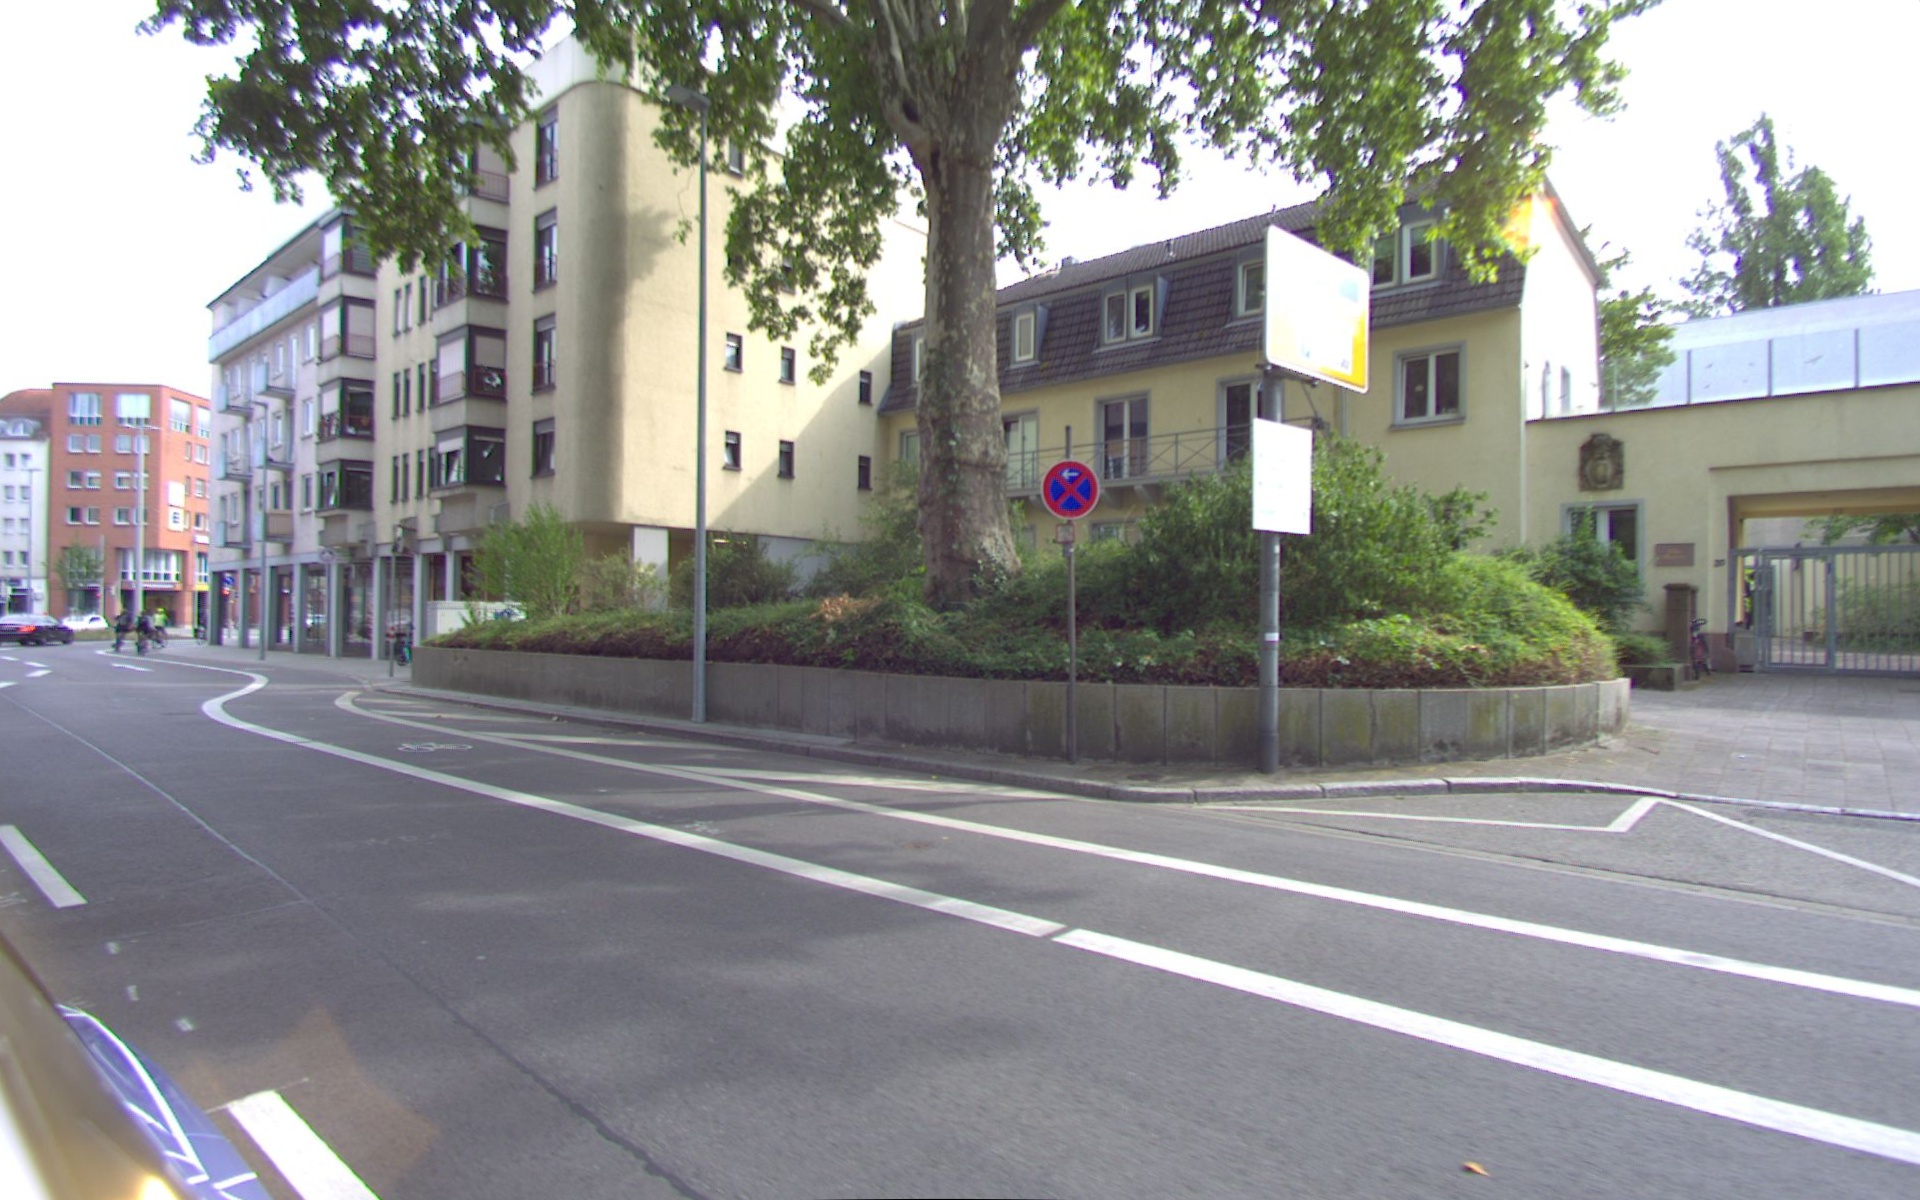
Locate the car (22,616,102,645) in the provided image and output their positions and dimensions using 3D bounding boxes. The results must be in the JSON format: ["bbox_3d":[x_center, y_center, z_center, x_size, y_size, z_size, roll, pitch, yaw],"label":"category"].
[{"bbox_3d":[-60.187,2.005,67.941,1.970,1.893,4.003,0,-1,-4],"label":"car"}]

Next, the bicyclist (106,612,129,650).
[{"bbox_3d":[-34.426,1.266,41.350,0.649,1.537,0.857,-1,-1,-45],"label":"bicyclist"}]

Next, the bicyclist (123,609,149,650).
[{"bbox_3d":[-31.485,1.127,38.656,0.649,1.537,1.077,-1,-1,-45],"label":"bicyclist"}]

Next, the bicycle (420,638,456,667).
[{"bbox_3d":[-15.989,1.608,30.964,1.618,0.827,0.425,-1,-2,42],"label":"bicycle"}]

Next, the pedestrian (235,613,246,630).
[{"bbox_3d":[-72.140,2.175,101.450,0.631,1.700,0.601,0,-2,-4],"label":"pedestrian"}]

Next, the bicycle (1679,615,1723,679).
[{"bbox_3d":[13.010,0.803,17.747,0.399,1.052,1.779,-3,-1,42],"label":"bicycle"}]

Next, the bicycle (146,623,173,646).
[{"bbox_3d":[-37.242,1.608,47.068,0.729,1.014,2.253,-1,-1,-45],"label":"bicycle"}]

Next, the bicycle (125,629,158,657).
[{"bbox_3d":[-31.148,1.620,38.490,2.196,1.014,0.729,-3,-1,44],"label":"bicycle"}]

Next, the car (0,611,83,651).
[{"bbox_3d":[-41.472,1.435,45.233,1.785,1.419,4.622,-2,-5,-19],"label":"car"}]

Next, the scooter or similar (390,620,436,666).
[{"bbox_3d":[-15.517,1.217,28.733,1.161,1.274,0.286,0,-2,4],"label":"scooter or similar"}]

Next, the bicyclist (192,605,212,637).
[{"bbox_3d":[-37.996,1.052,50.709,0.649,1.537,1.003,-1,1,-45],"label":"bicyclist"}]

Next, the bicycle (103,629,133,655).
[{"bbox_3d":[-34.491,1.727,41.443,1.976,1.014,0.729,-3,-1,44],"label":"bicycle"}]

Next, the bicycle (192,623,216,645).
[{"bbox_3d":[-38.091,1.721,50.997,0.729,1.014,1.910,1,1,-45],"label":"bicycle"}]

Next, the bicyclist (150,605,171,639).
[{"bbox_3d":[-36.945,1.015,46.781,0.649,1.537,0.841,-1,-1,-45],"label":"bicyclist"}]
